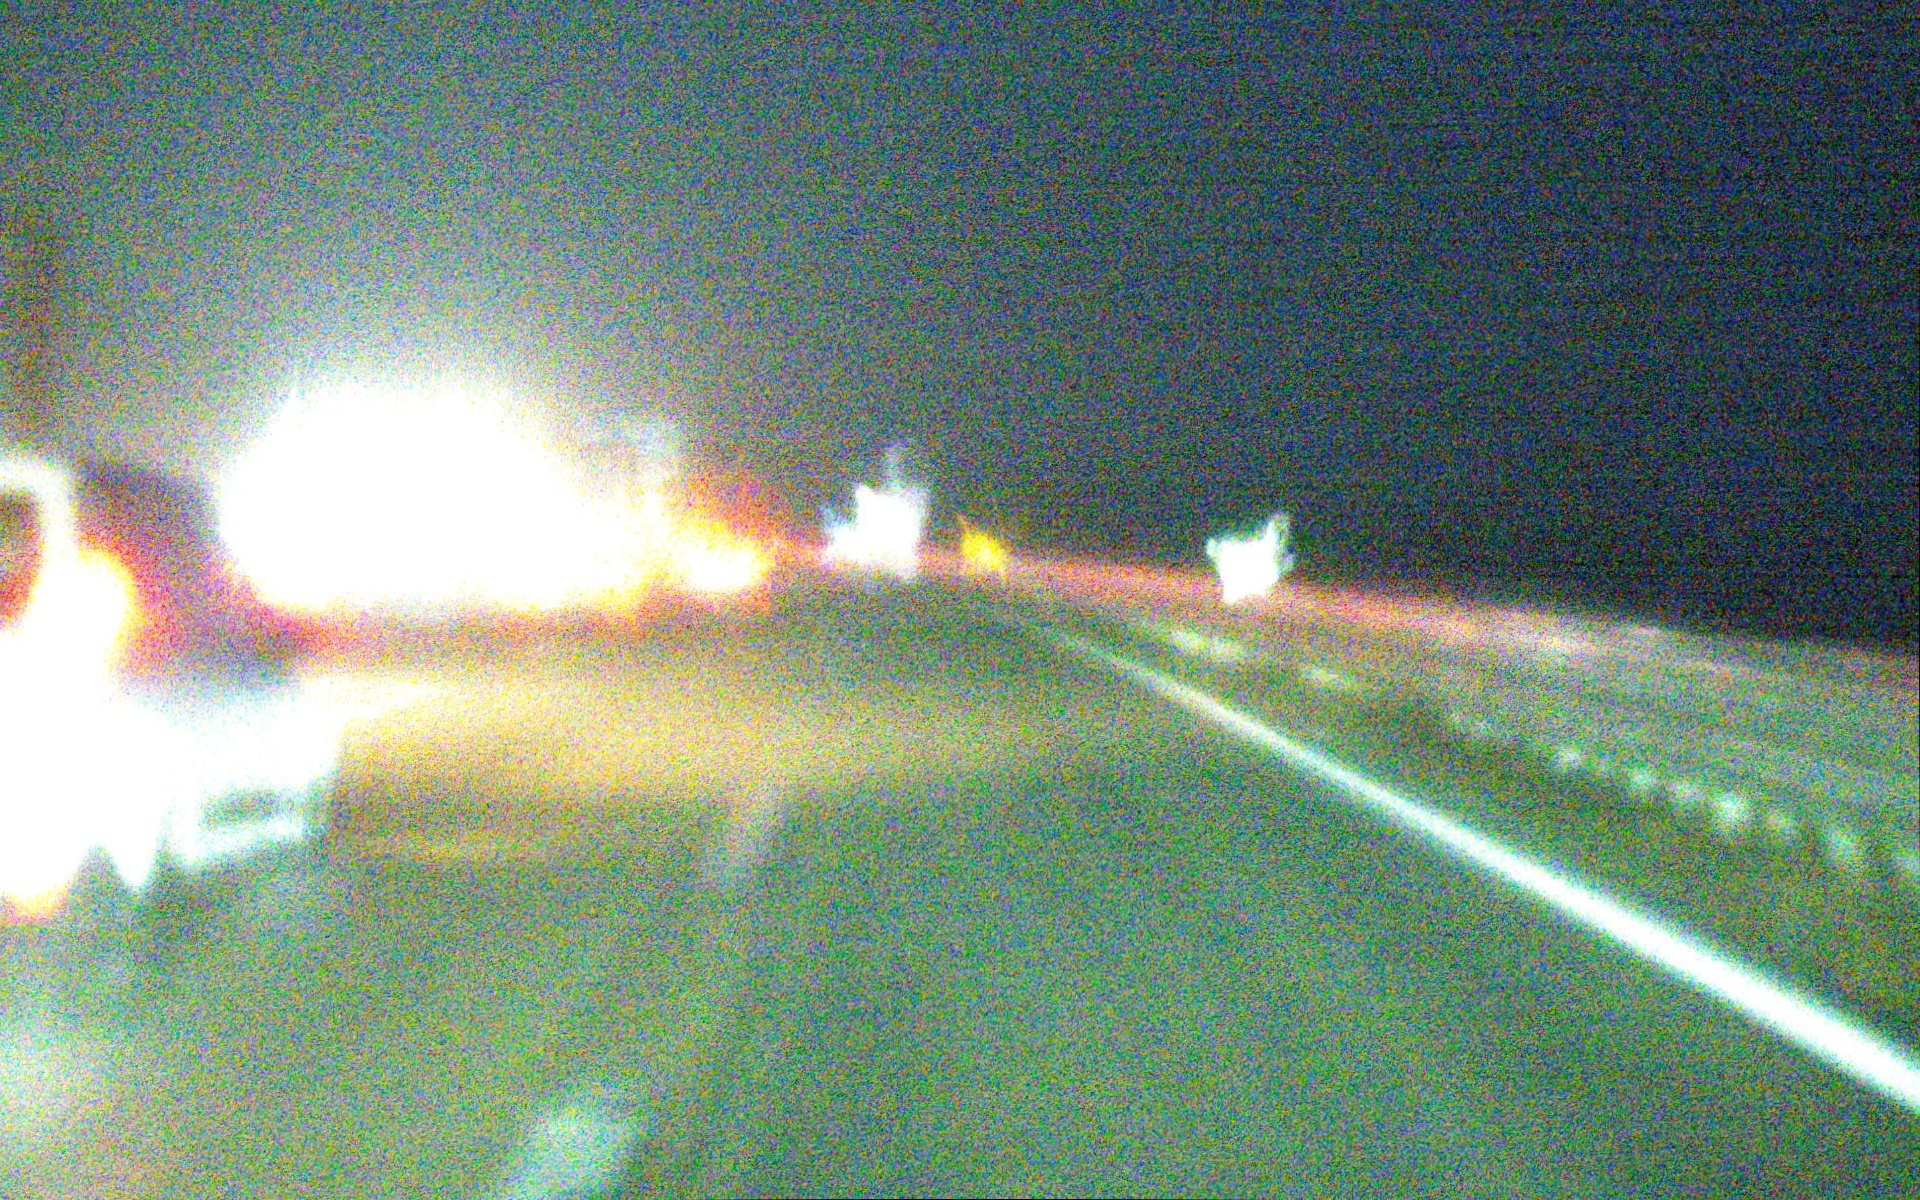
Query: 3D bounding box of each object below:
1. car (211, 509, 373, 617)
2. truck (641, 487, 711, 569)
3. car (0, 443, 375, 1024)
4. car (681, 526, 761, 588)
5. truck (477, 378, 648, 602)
[{"bbox_3d":[-11.128,-0.628,57.546,1.993,1.701,4.196,1,1,-2],"label":"car"},{"bbox_3d":[-17.760,-4.455,214.218,3.823,4.898,11.609,1,1,-7],"label":"truck"},{"bbox_3d":[-3.677,0.363,13.155,1.953,1.786,5.124,1,1,0],"label":"car"},{"bbox_3d":[-6.776,-1.221,97.176,1.993,1.701,4.196,1,1,-7],"label":"car"},{"bbox_3d":[-10.732,-2.852,92.674,4.166,5.525,13.077,1,1,-7],"label":"truck"}]
